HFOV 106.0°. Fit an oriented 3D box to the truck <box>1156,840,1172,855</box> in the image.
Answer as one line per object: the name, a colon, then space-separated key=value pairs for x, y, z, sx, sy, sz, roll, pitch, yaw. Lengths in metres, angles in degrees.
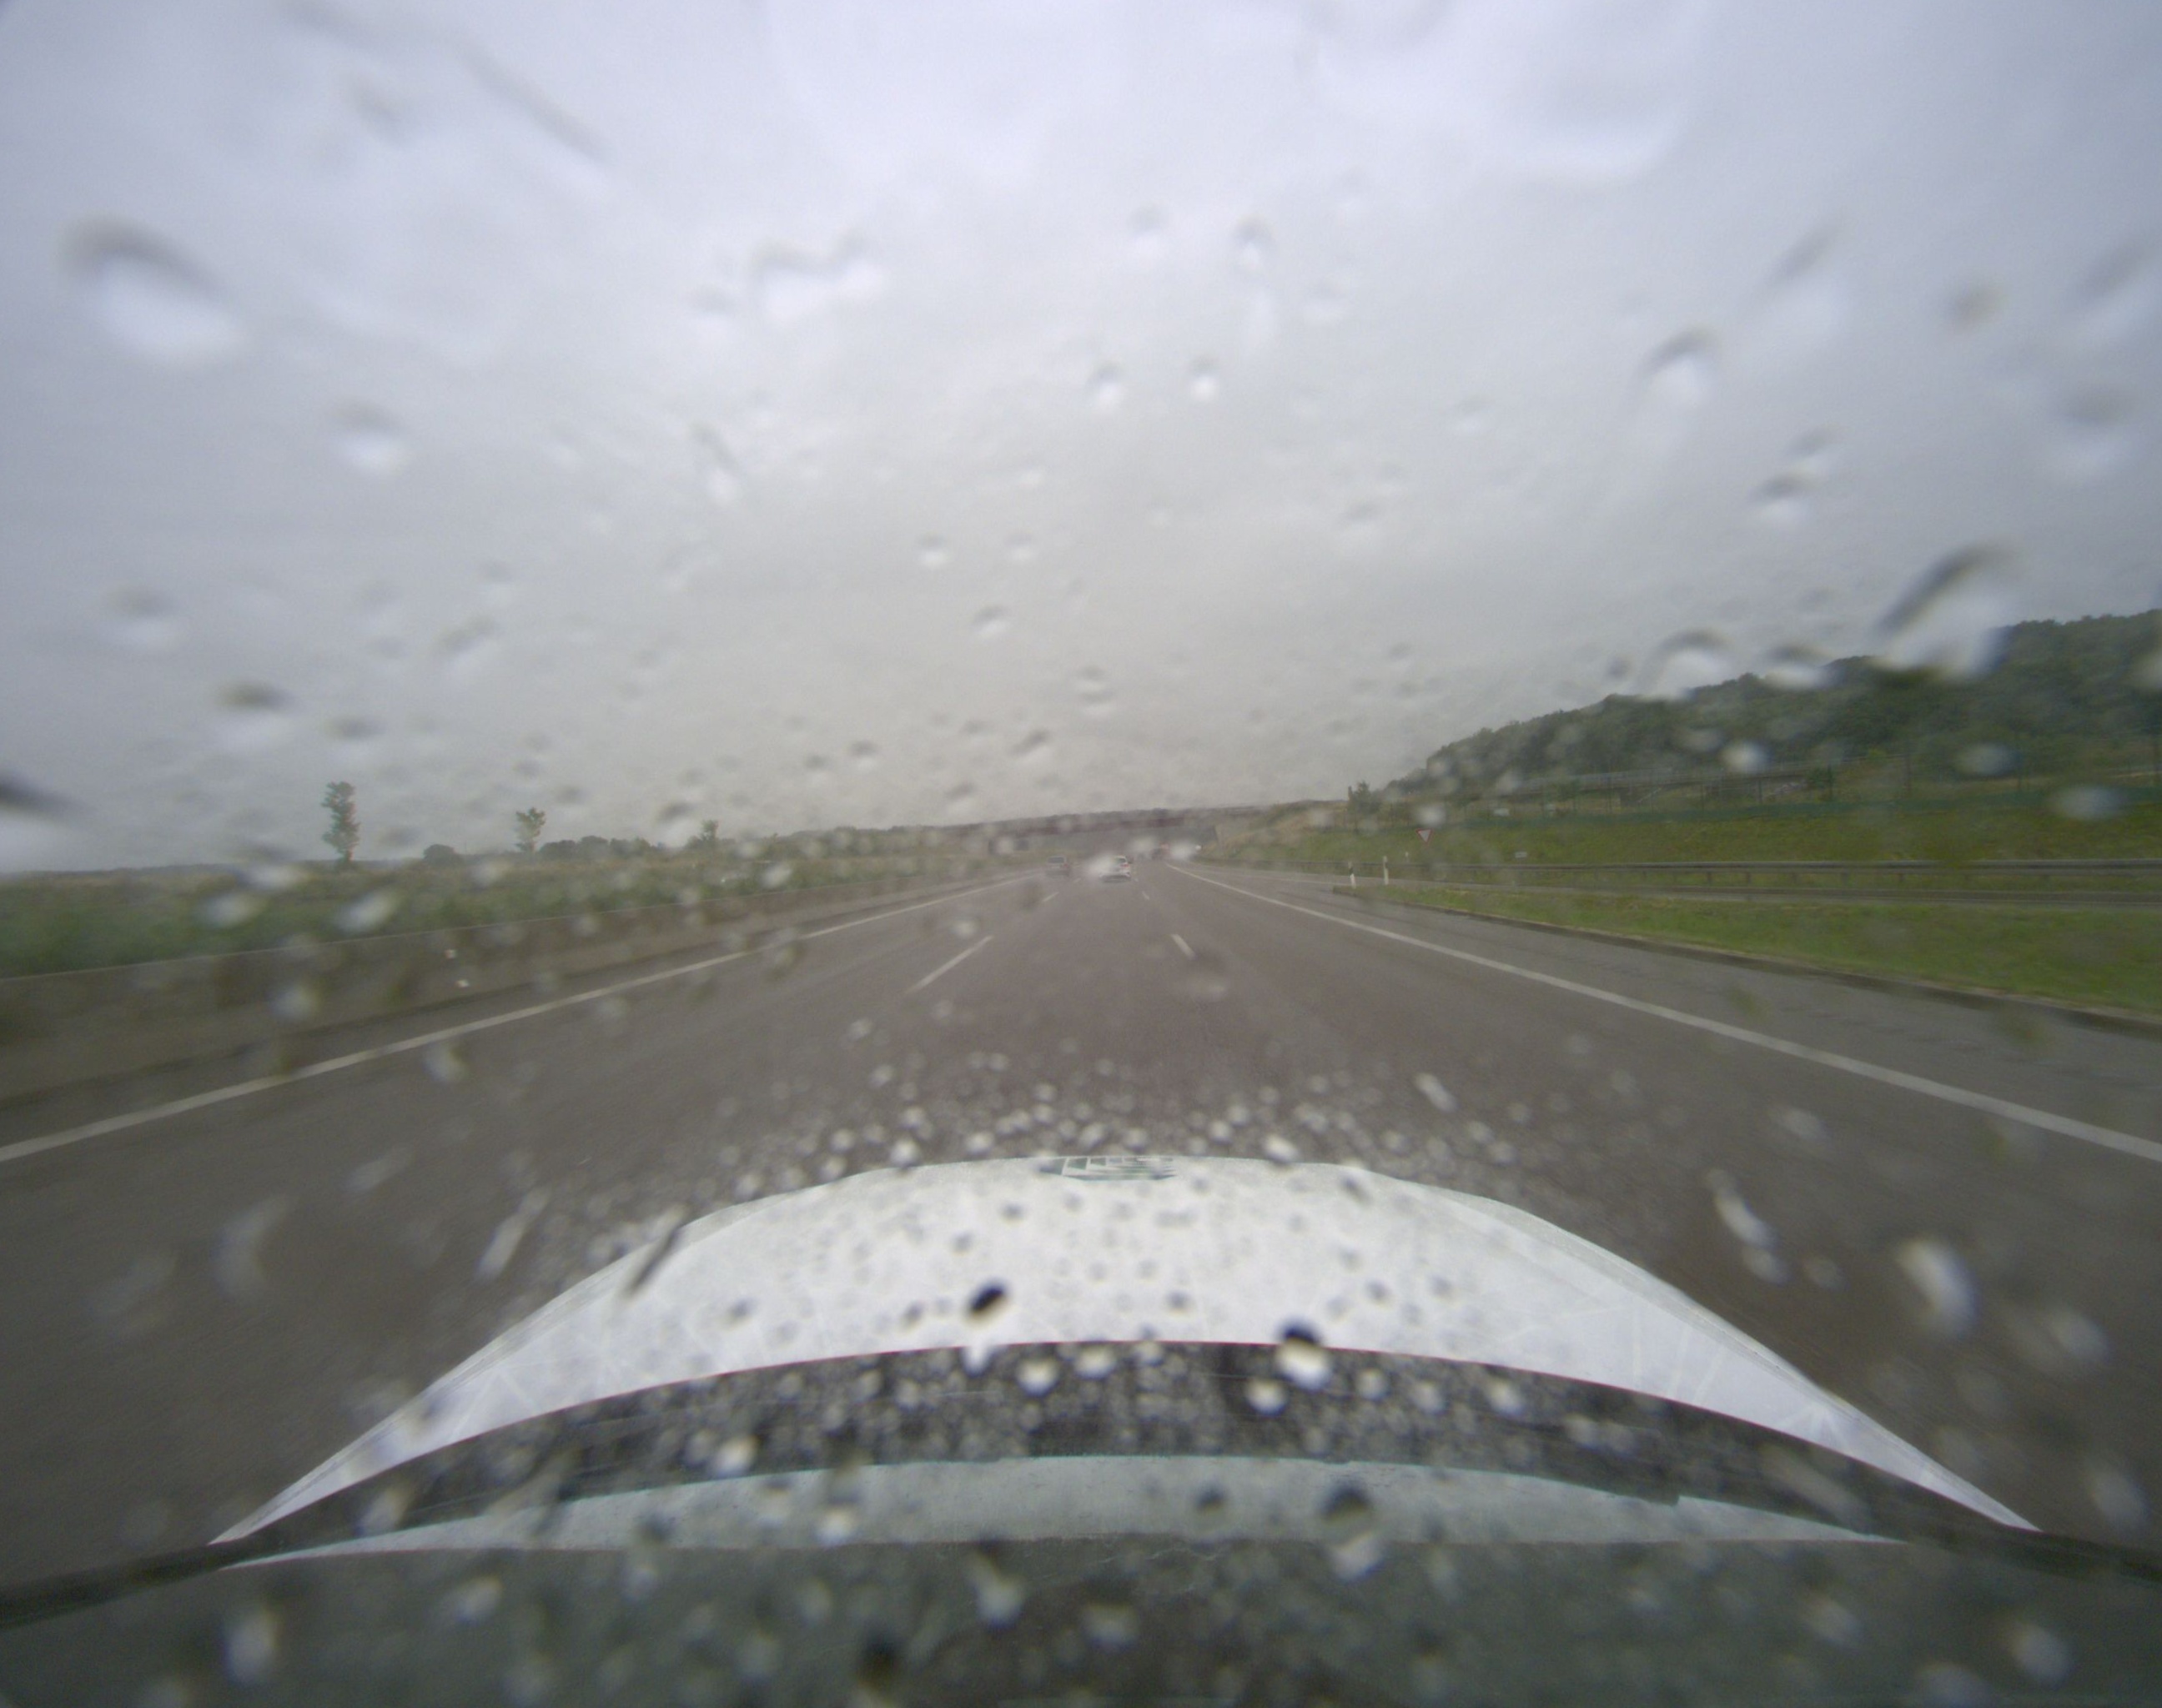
truck: x=22.668 y=-1.816 z=223.098 sx=3.513 sy=3.742 sz=11.435 roll=-1 pitch=1 yaw=3

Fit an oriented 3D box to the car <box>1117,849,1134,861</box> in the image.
car: x=6.089 y=0.149 z=110.756 sx=1.983 sy=1.618 sz=4.008 roll=-1 pitch=0 yaw=7

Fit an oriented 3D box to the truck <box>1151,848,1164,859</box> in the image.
truck: x=16.049 y=-0.196 z=170.234 sx=2.394 sy=2.252 sz=4.705 roll=-1 pitch=0 yaw=9

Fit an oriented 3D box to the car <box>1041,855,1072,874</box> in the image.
car: x=-1.582 y=0.714 z=54.326 sx=1.817 sy=1.156 sz=4.215 roll=0 pitch=-1 yaw=2

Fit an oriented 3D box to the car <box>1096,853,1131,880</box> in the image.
car: x=1.787 y=0.688 z=45.556 sx=1.861 sy=1.463 sz=4.001 roll=-1 pitch=-1 yaw=1

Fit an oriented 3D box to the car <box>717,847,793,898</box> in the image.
car: x=-13.648 y=0.741 z=34.259 sx=1.669 sy=2.013 sz=3.443 roll=-1 pitch=0 yaw=2
